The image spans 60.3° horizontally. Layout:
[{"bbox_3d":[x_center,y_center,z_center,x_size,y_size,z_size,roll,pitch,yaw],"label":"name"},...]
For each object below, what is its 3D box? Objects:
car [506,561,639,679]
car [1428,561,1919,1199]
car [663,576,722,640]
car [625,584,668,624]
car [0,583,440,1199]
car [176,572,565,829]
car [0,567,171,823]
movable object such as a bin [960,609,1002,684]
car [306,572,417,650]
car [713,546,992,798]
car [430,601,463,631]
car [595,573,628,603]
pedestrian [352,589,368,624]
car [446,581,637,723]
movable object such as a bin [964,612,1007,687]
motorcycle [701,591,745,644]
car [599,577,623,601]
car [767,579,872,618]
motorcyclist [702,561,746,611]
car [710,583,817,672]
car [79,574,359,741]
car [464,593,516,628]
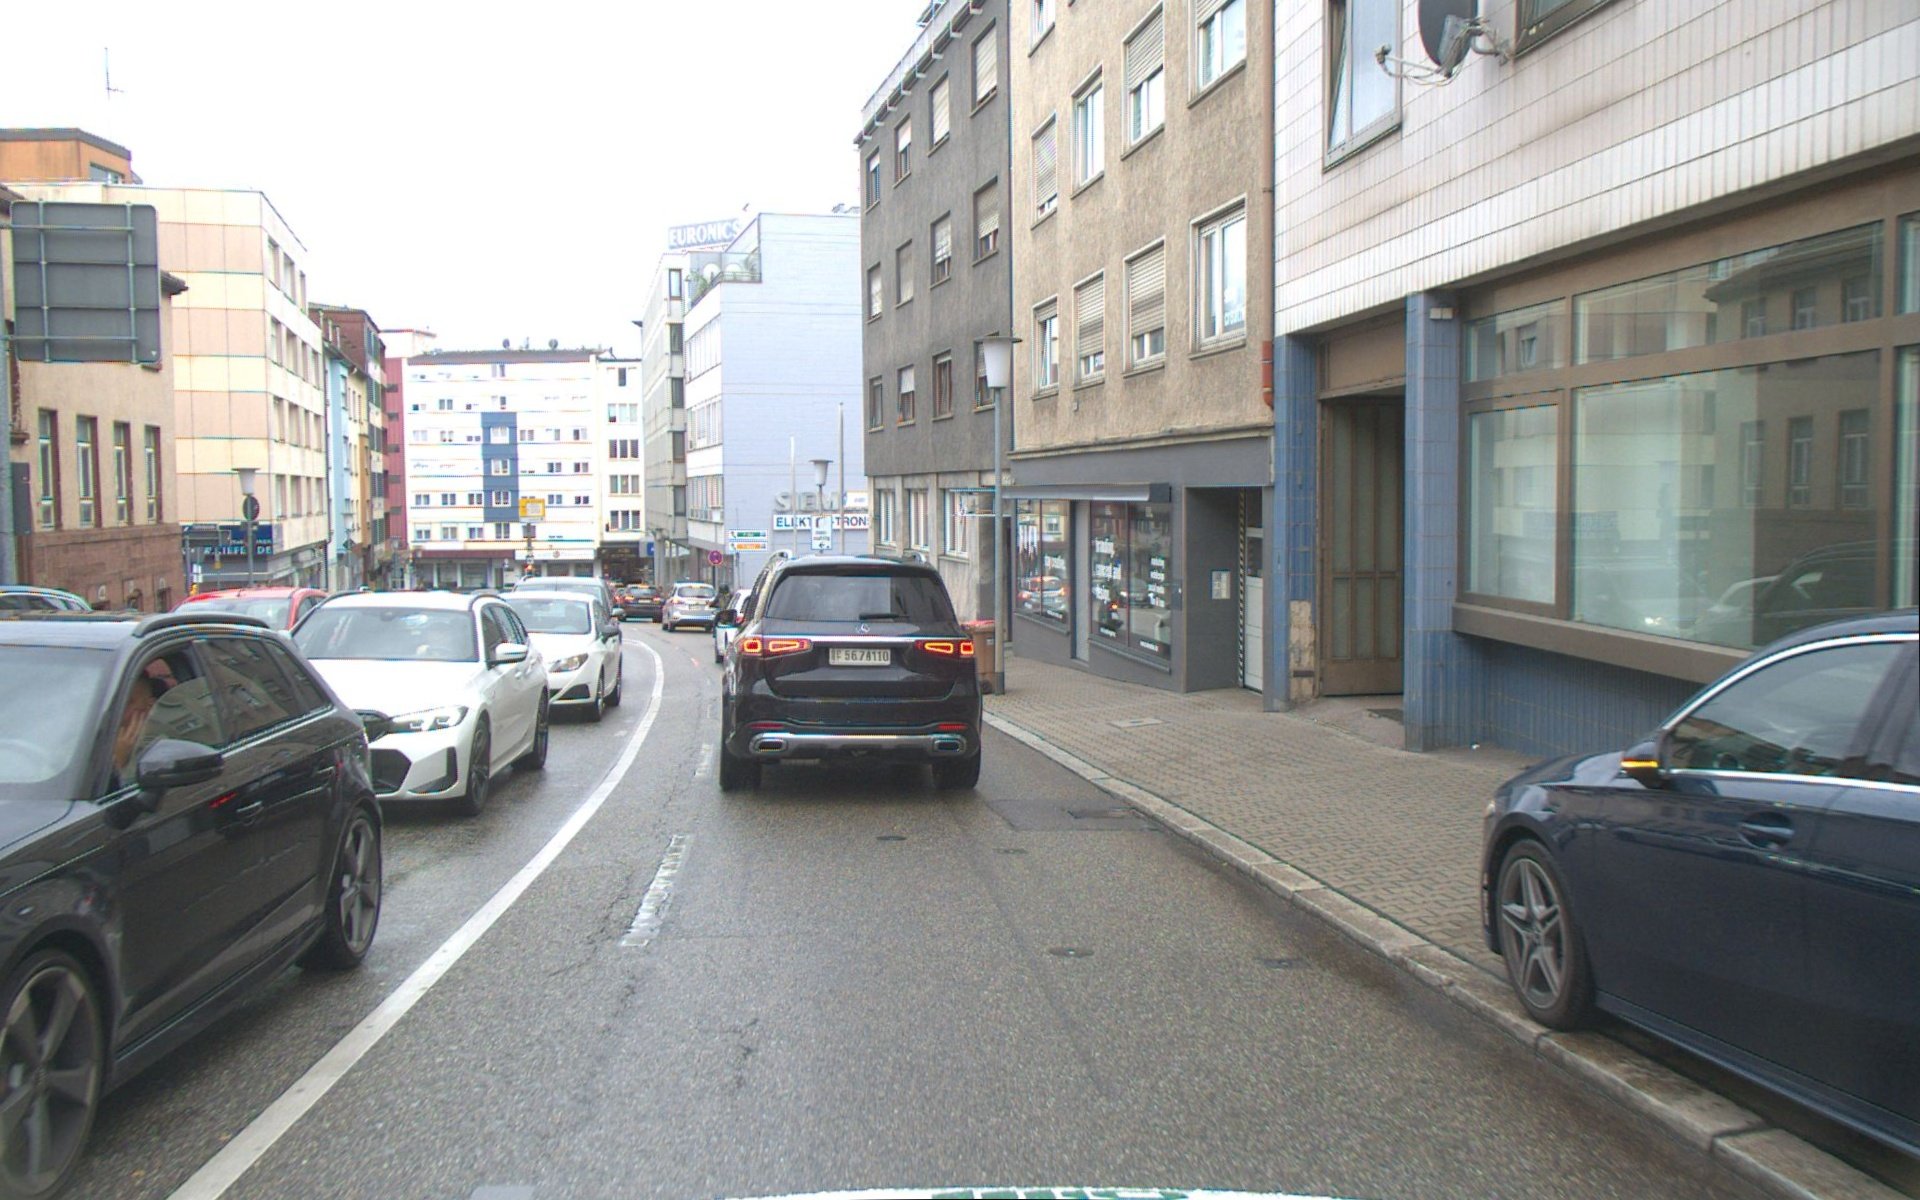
[{"bbox_3d":[-6.233,0.297,27.020,1.773,1.735,4.551,1,0,-9],"label":"car"},{"bbox_3d":[2.894,0.614,4.297,1.730,1.416,4.374,-3,0,-5],"label":"car"},{"bbox_3d":[-8.907,0.221,54.909,1.723,1.810,3.565,0,5,-13],"label":"car"},{"bbox_3d":[-13.332,0.148,70.256,1.498,1.575,3.093,0,1,-17],"label":"car"},{"bbox_3d":[-3.092,0.694,5.076,1.770,1.439,4.376,-1,0,-3],"label":"car"},{"bbox_3d":[-4.173,0.611,12.495,1.772,1.548,4.554,-1,0,-7],"label":"car"},{"bbox_3d":[-7.204,0.663,11.380,1.772,1.659,4.337,-3,0,-6],"label":"car"},{"bbox_3d":[0.292,0.649,23.213,0.515,0.997,0.537,0,4,-7],"label":"movable object such as a bin"},{"bbox_3d":[-13.933,0.242,38.675,1.625,1.638,3.920,-3,0,-9],"label":"car"},{"bbox_3d":[-1.033,0.482,14.105,1.982,1.770,4.740,0,0,-7],"label":"car"},{"bbox_3d":[-29.436,0.903,94.897,1.687,1.613,4.125,-3,1,-16],"label":"car"},{"bbox_3d":[-18.860,-0.645,89.515,1.498,1.575,3.093,0,1,-17],"label":"car"},{"bbox_3d":[-29.780,0.308,82.071,0.728,1.680,0.603,-1,5,-18],"label":"pedestrian"},{"bbox_3d":[-4.938,0.562,20.014,1.666,1.506,4.284,1,0,-7],"label":"car"},{"bbox_3d":[0.349,0.674,22.649,0.515,0.966,0.537,0,4,-7],"label":"movable object such as a bin"},{"bbox_3d":[-6.117,0.432,42.587,0.853,1.075,2.930,0,5,-13],"label":"motorcycle"},{"bbox_3d":[-23.080,-0.734,109.284,1.496,1.575,3.097,0,1,-13],"label":"car"},{"bbox_3d":[-5.668,-0.048,66.820,3.952,1.521,1.712,1,-1,-34],"label":"car"},{"bbox_3d":[-6.071,-0.385,42.448,0.853,1.075,2.930,0,5,-13],"label":"motorcyclist"},{"bbox_3d":[-3.852,0.497,31.887,1.797,1.487,4.369,-3,0,-9],"label":"car"},{"bbox_3d":[-7.980,0.556,18.218,1.708,1.542,4.122,-3,0,-9],"label":"car"},{"bbox_3d":[-21.116,0.461,74.364,1.666,1.506,4.282,1,0,-8],"label":"car"}]
